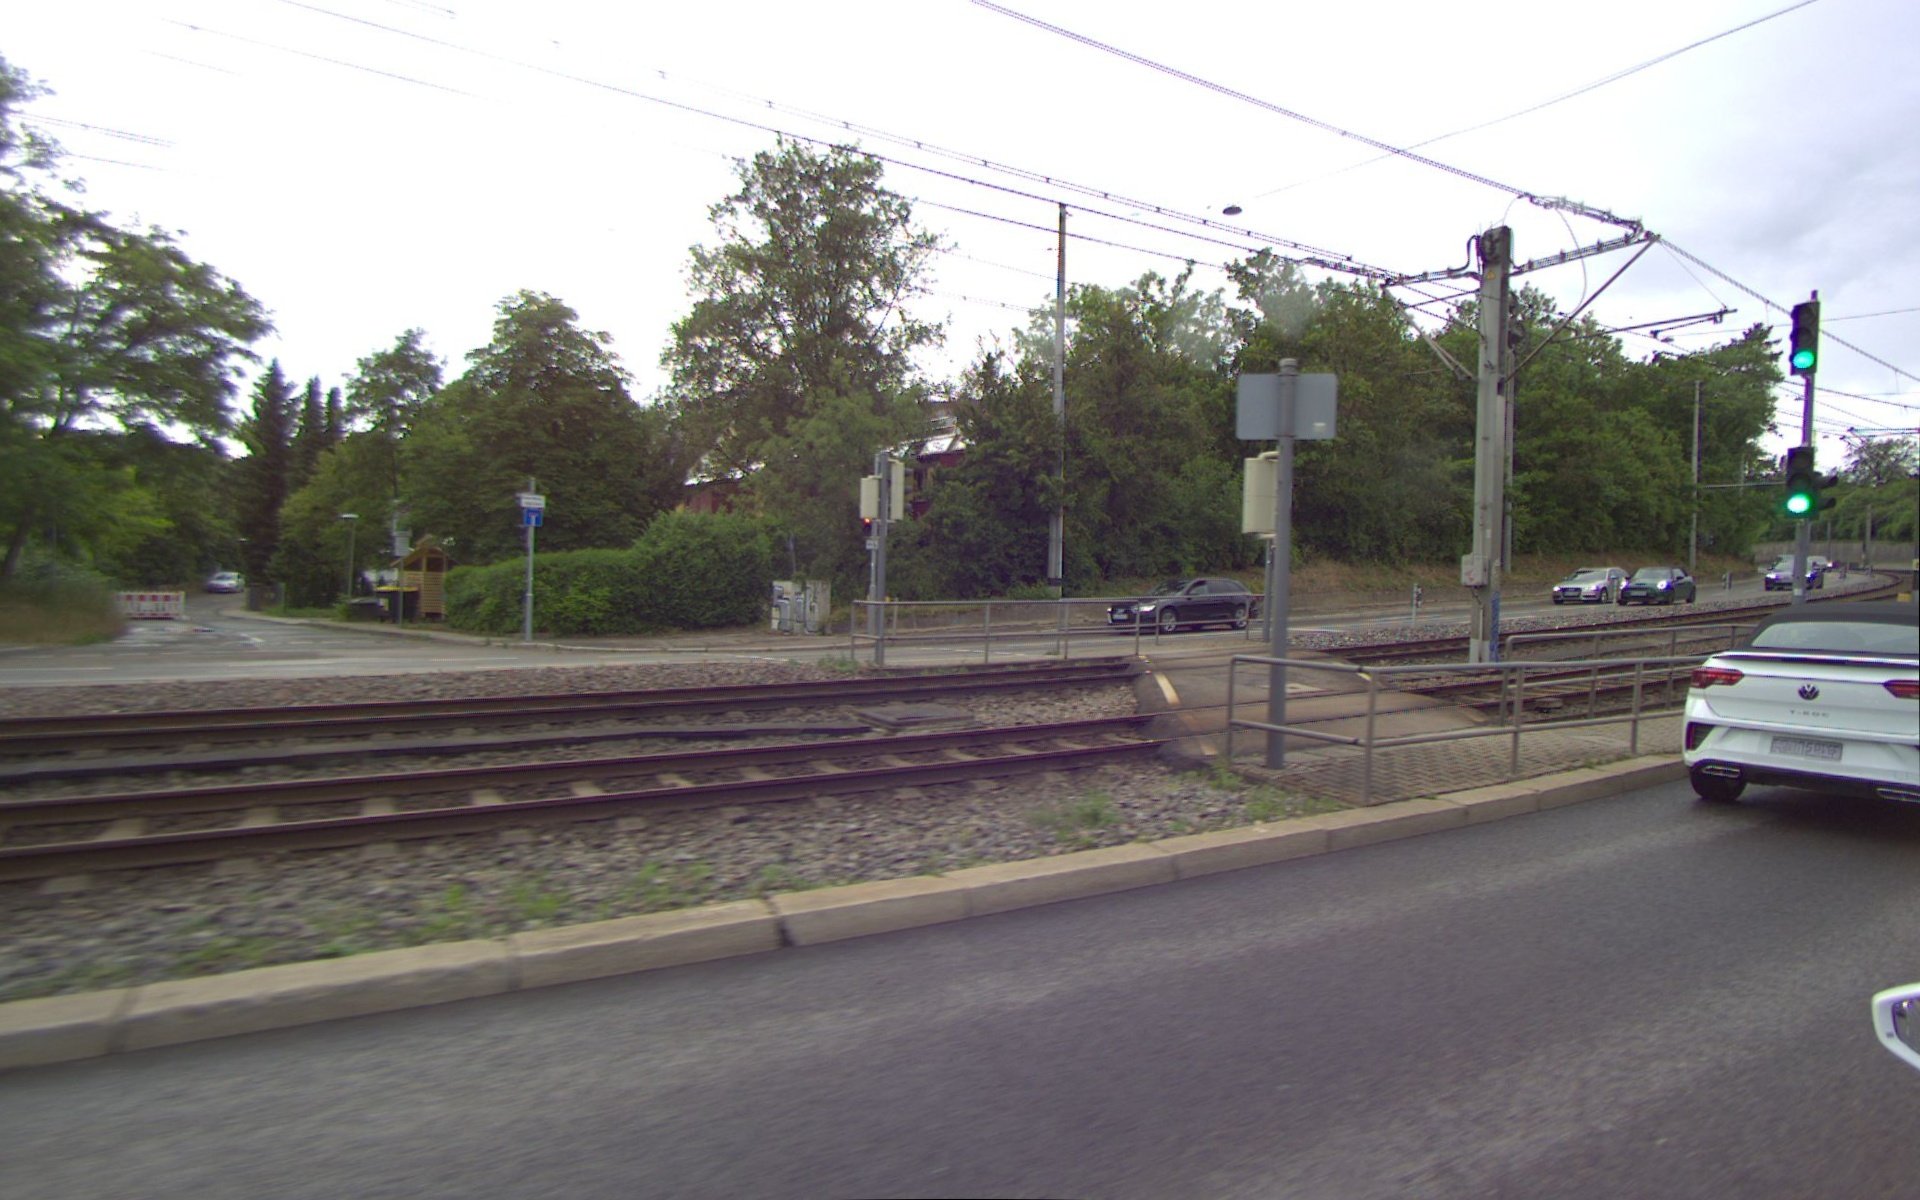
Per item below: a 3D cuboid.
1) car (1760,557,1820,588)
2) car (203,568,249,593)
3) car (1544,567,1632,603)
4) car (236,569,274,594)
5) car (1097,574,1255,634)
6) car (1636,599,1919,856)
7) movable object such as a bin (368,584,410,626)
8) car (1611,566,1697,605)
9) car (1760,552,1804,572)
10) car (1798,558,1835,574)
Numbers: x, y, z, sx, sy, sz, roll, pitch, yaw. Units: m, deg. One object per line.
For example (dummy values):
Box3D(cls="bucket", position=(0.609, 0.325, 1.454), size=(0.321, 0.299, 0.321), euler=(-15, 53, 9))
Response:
Box3D(cls="car", position=(43.008, -1.426, 52.012), size=(4.820, 1.458, 1.844), euler=(-3, 1, -43))
Box3D(cls="car", position=(-54.673, -1.428, 74.923), size=(1.973, 1.775, 3.975), euler=(1, 0, -25))
Box3D(cls="car", position=(25.877, -0.644, 41.335), size=(4.667, 1.398, 1.803), euler=(-2, 2, -41))
Box3D(cls="car", position=(-58.088, -1.485, 82.837), size=(1.855, 1.840, 3.976), euler=(0, -1, -25))
Box3D(cls="car", position=(5.756, 0.082, 26.603), size=(4.232, 1.478, 1.705), euler=(0, 1, -35))
Box3D(cls="car", position=(7.437, 0.780, 7.907), size=(4.489, 1.544, 1.861), euler=(0, 0, -32))
Box3D(cls="movable object such as a bin", position=(-21.111, 0.186, 37.124), size=(1.264, 1.445, 0.676), euler=(5, 1, 25))
Box3D(cls="car", position=(26.260, -0.556, 37.956), size=(3.859, 1.403, 1.620), euler=(-1, 0, -38))
Box3D(cls="car", position=(72.347, -3.344, 88.478), size=(1.755, 1.692, 4.736), euler=(0, 2, 23))
Box3D(cls="car", position=(80.191, -3.180, 94.058), size=(1.679, 1.434, 4.026), euler=(1, 2, 27))
